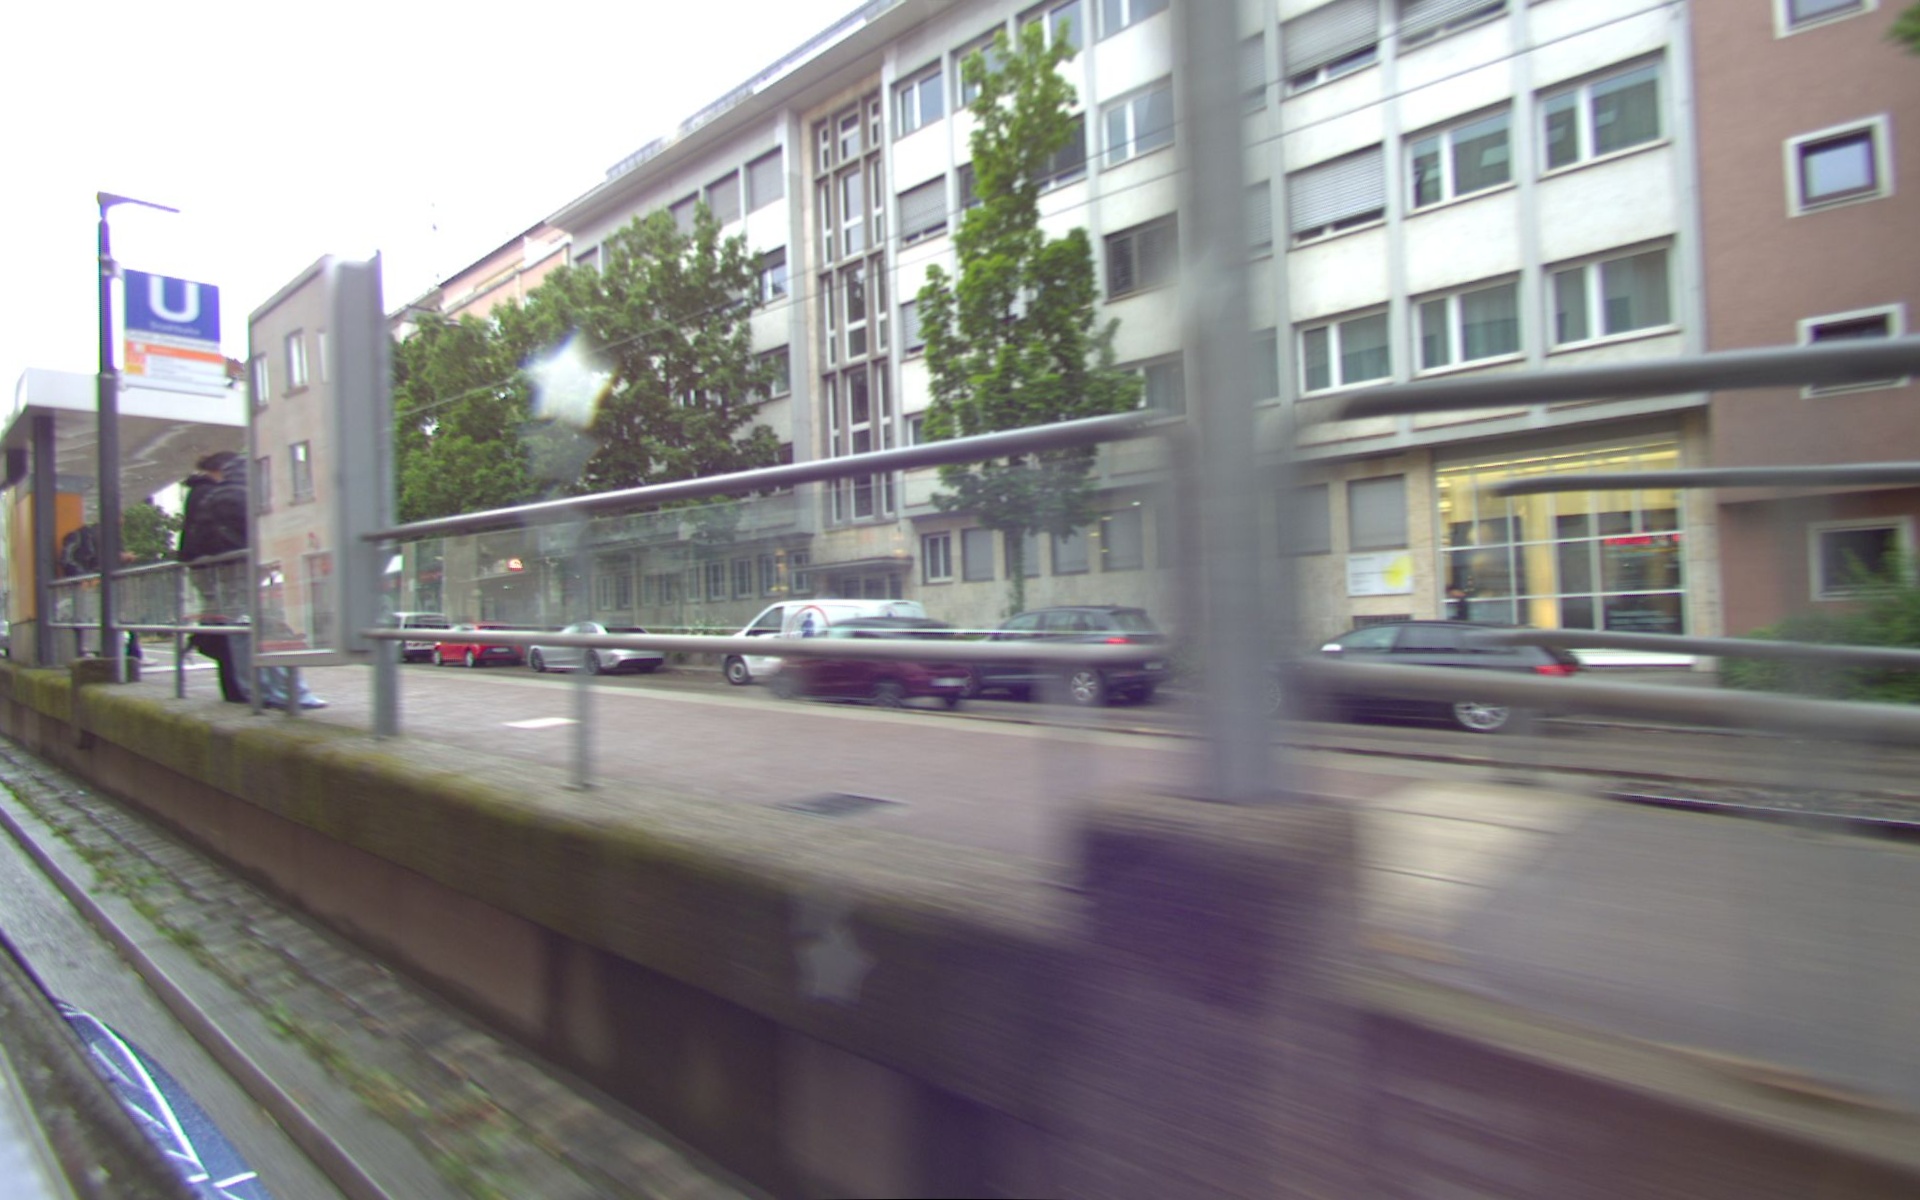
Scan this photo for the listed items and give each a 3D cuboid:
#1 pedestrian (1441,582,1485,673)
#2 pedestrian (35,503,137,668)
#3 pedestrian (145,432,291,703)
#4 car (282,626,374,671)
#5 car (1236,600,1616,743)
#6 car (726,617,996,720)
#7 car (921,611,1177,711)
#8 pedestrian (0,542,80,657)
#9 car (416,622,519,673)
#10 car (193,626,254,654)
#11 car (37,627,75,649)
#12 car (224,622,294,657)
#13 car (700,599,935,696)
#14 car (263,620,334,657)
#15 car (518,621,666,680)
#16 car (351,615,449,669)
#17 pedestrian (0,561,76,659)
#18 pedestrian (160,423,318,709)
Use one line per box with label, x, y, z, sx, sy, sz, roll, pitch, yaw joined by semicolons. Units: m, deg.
pedestrian;8.932;0.489;17.977;0.584;1.569;0.692;-1;-2;35
pedestrian;-9.478;-0.139;10.985;0.700;1.706;0.704;-1;-2;39
pedestrian;-4.755;-0.185;6.485;0.700;1.621;0.577;-1;-2;39
car;-20.618;1.537;32.965;3.735;1.348;1.621;-1;-1;43
car;6.121;0.857;13.636;4.369;1.636;1.621;-1;-1;42
car;-1.728;1.030;16.618;4.525;1.473;1.675;-1;-1;38
car;1.448;0.981;17.668;4.369;1.548;1.621;-1;-1;42
pedestrian;-14.447;0.008;15.817;0.700;1.737;0.907;-1;-2;39
car;-16.055;1.489;32.938;3.801;1.551;1.622;-1;-1;40
car;-37.716;2.019;51.771;4.457;1.386;1.695;-1;-1;43
car;-64.315;2.689;71.987;3.962;1.473;1.621;-1;-1;42
car;-33.223;1.847;47.895;4.334;1.596;1.641;-1;-1;40
car;-3.158;0.954;21.743;5.249;1.858;1.889;-1;-1;37
car;-28.655;1.638;43.799;4.021;1.549;1.621;-1;-1;42
car;-10.030;1.321;27.442;4.525;1.473;1.675;-1;-1;38
car;-20.303;1.466;36.640;4.429;1.831;1.657;-1;-1;40
pedestrian;-12.757;0.145;13.962;0.700;1.312;0.720;-1;-2;39
pedestrian;-4.255;-0.178;5.978;0.700;1.569;0.577;-1;-2;39
